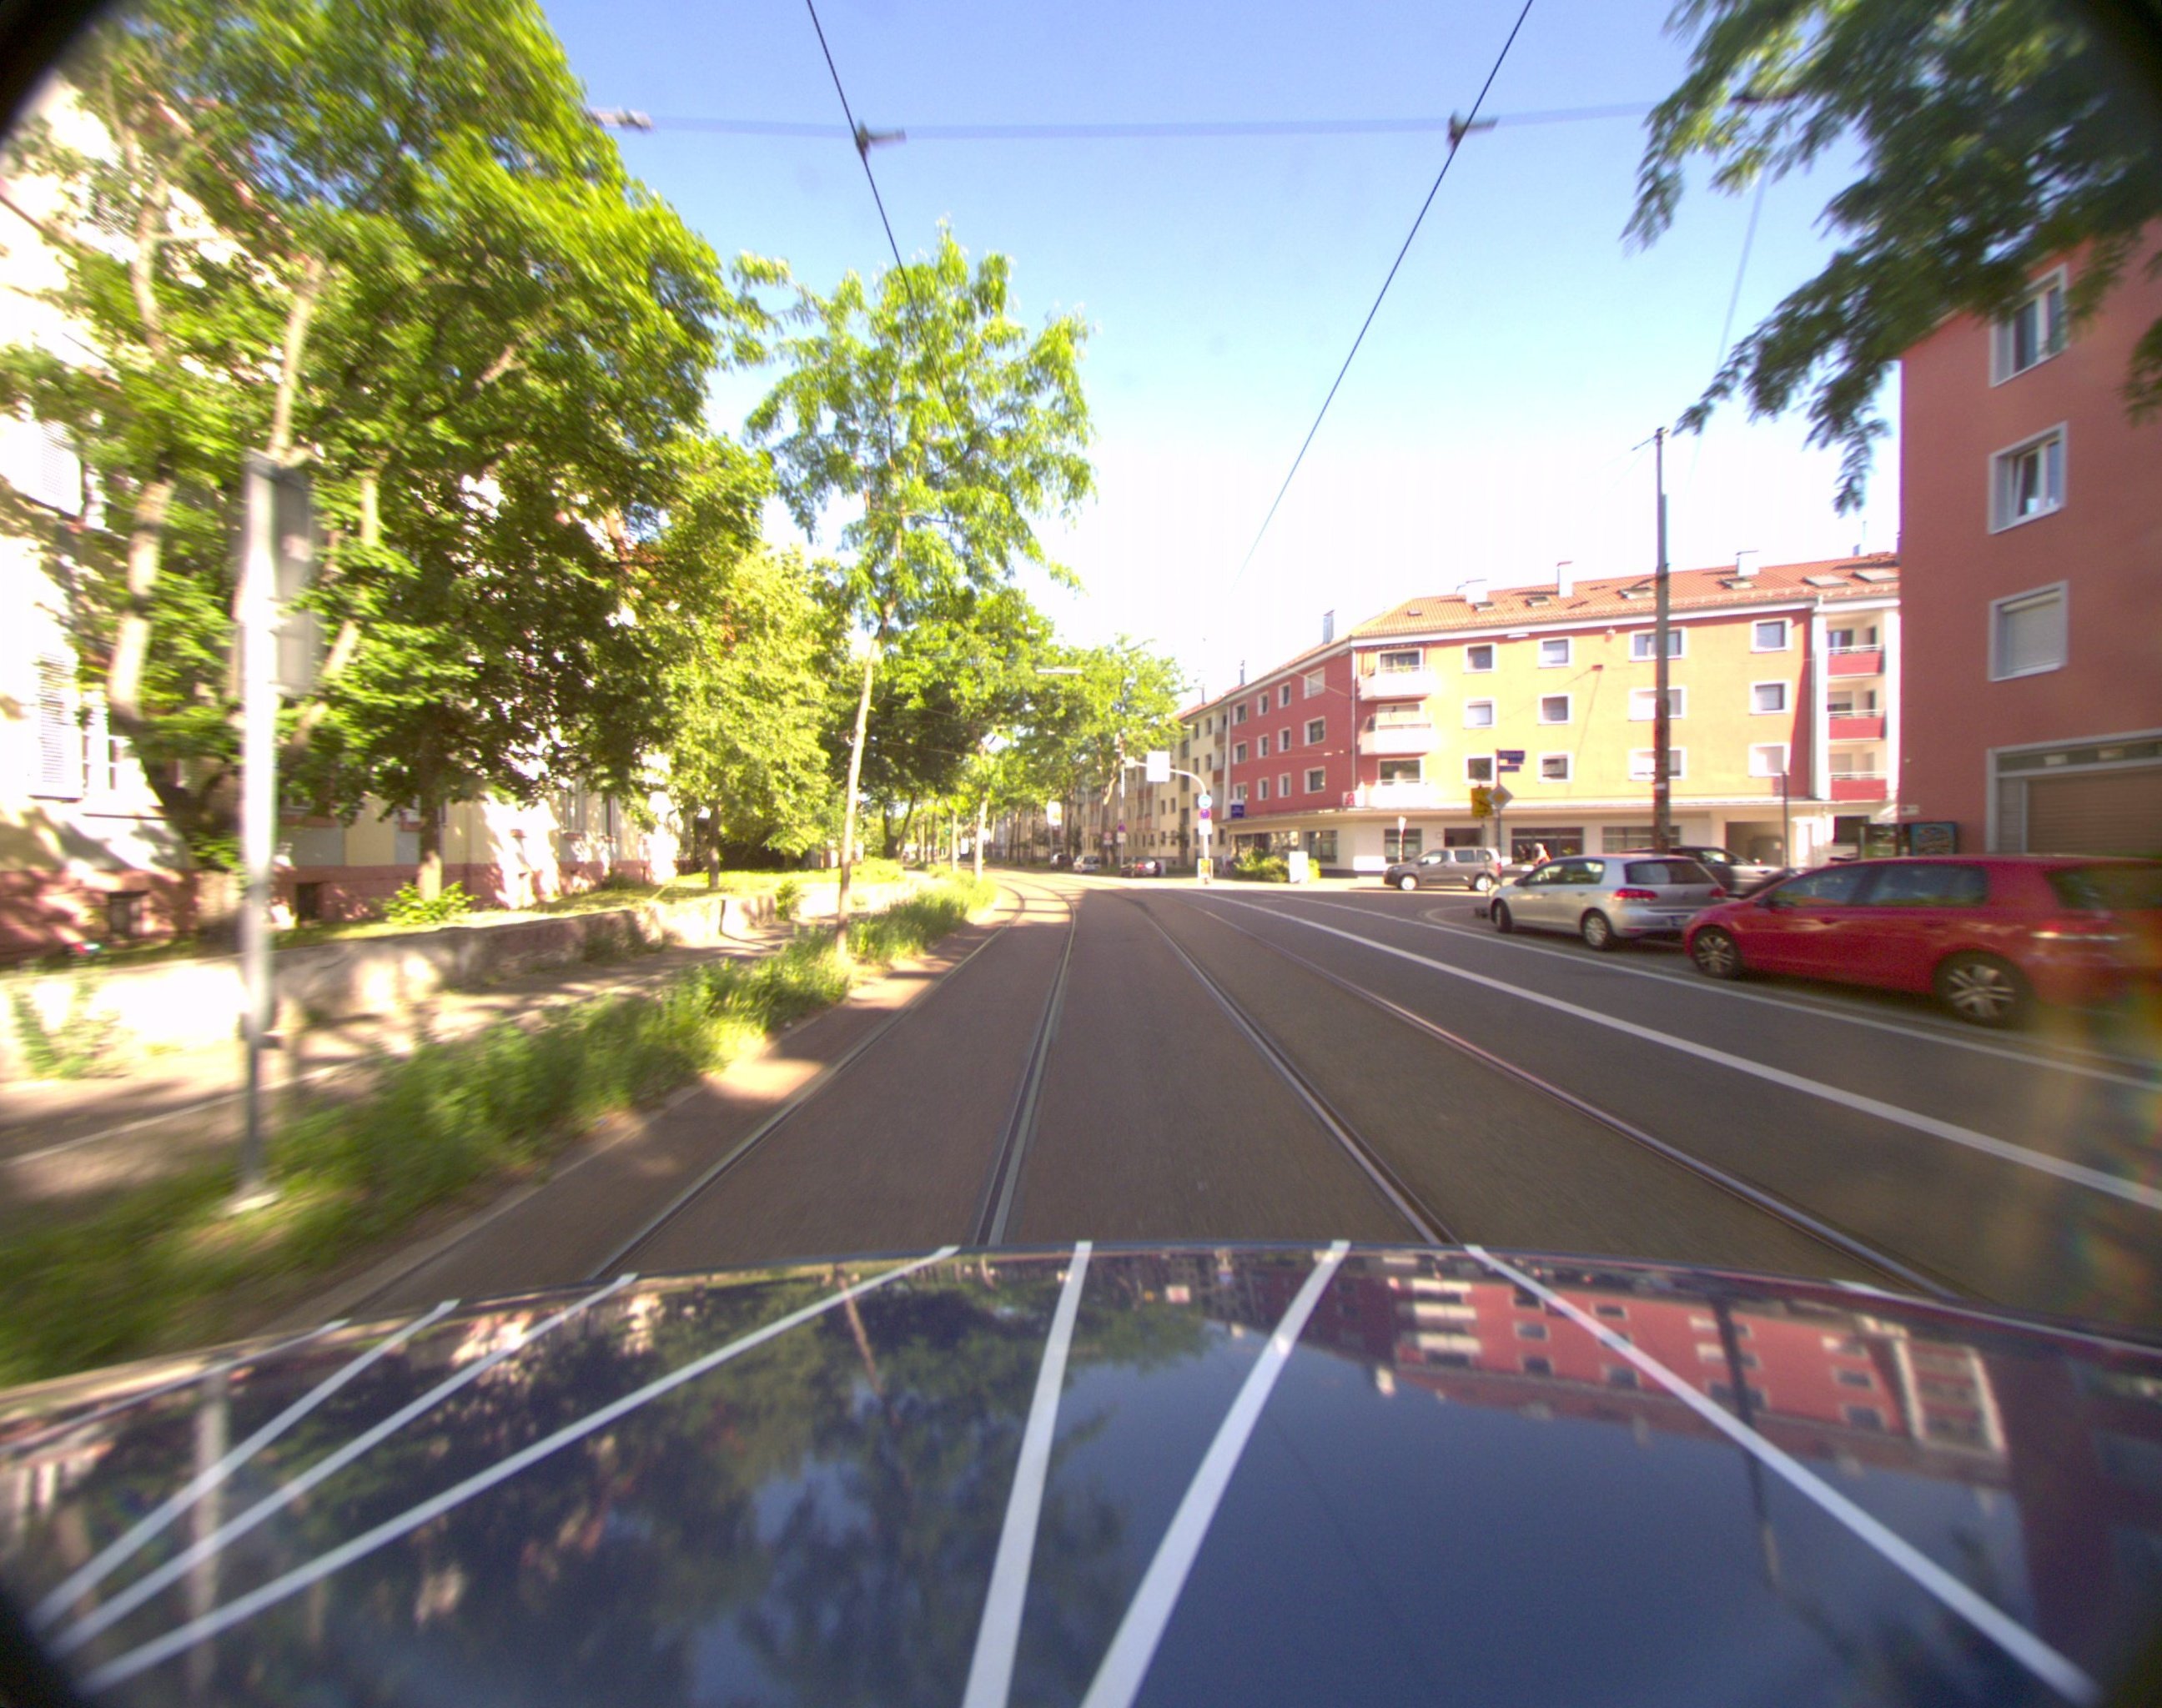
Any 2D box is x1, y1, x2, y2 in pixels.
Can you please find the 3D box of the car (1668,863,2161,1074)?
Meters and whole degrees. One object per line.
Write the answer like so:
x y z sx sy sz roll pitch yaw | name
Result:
8.329 0.867 7.644 1.577 1.446 4.095 -1 0 -2 | car

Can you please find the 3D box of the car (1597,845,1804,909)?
18.430 0.630 22.878 4.481 1.769 1.791 1 1 21 | car

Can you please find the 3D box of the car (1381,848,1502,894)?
14.709 0.665 31.233 4.280 1.769 1.791 1 1 17 | car

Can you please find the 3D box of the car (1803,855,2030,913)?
23.546 0.794 21.626 4.001 1.498 1.688 1 1 20 | car

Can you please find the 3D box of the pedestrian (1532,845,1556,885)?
21.044 0.492 34.545 0.803 1.755 0.509 1 1 20 | pedestrian

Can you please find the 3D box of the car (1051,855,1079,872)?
-1.453 0.878 69.105 1.880 1.390 3.996 -3 0 -10 | car

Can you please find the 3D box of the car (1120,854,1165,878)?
3.871 0.734 48.698 1.880 1.390 3.996 -3 0 -10 | car

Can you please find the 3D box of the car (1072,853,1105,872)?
0.592 0.665 61.712 1.880 1.390 3.996 -3 0 -10 | car

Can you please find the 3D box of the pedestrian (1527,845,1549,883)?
21.515 0.452 35.766 0.803 1.755 0.509 1 1 20 | pedestrian

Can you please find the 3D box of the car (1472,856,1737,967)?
8.452 0.812 12.768 1.577 1.497 4.096 -1 0 -1 | car
